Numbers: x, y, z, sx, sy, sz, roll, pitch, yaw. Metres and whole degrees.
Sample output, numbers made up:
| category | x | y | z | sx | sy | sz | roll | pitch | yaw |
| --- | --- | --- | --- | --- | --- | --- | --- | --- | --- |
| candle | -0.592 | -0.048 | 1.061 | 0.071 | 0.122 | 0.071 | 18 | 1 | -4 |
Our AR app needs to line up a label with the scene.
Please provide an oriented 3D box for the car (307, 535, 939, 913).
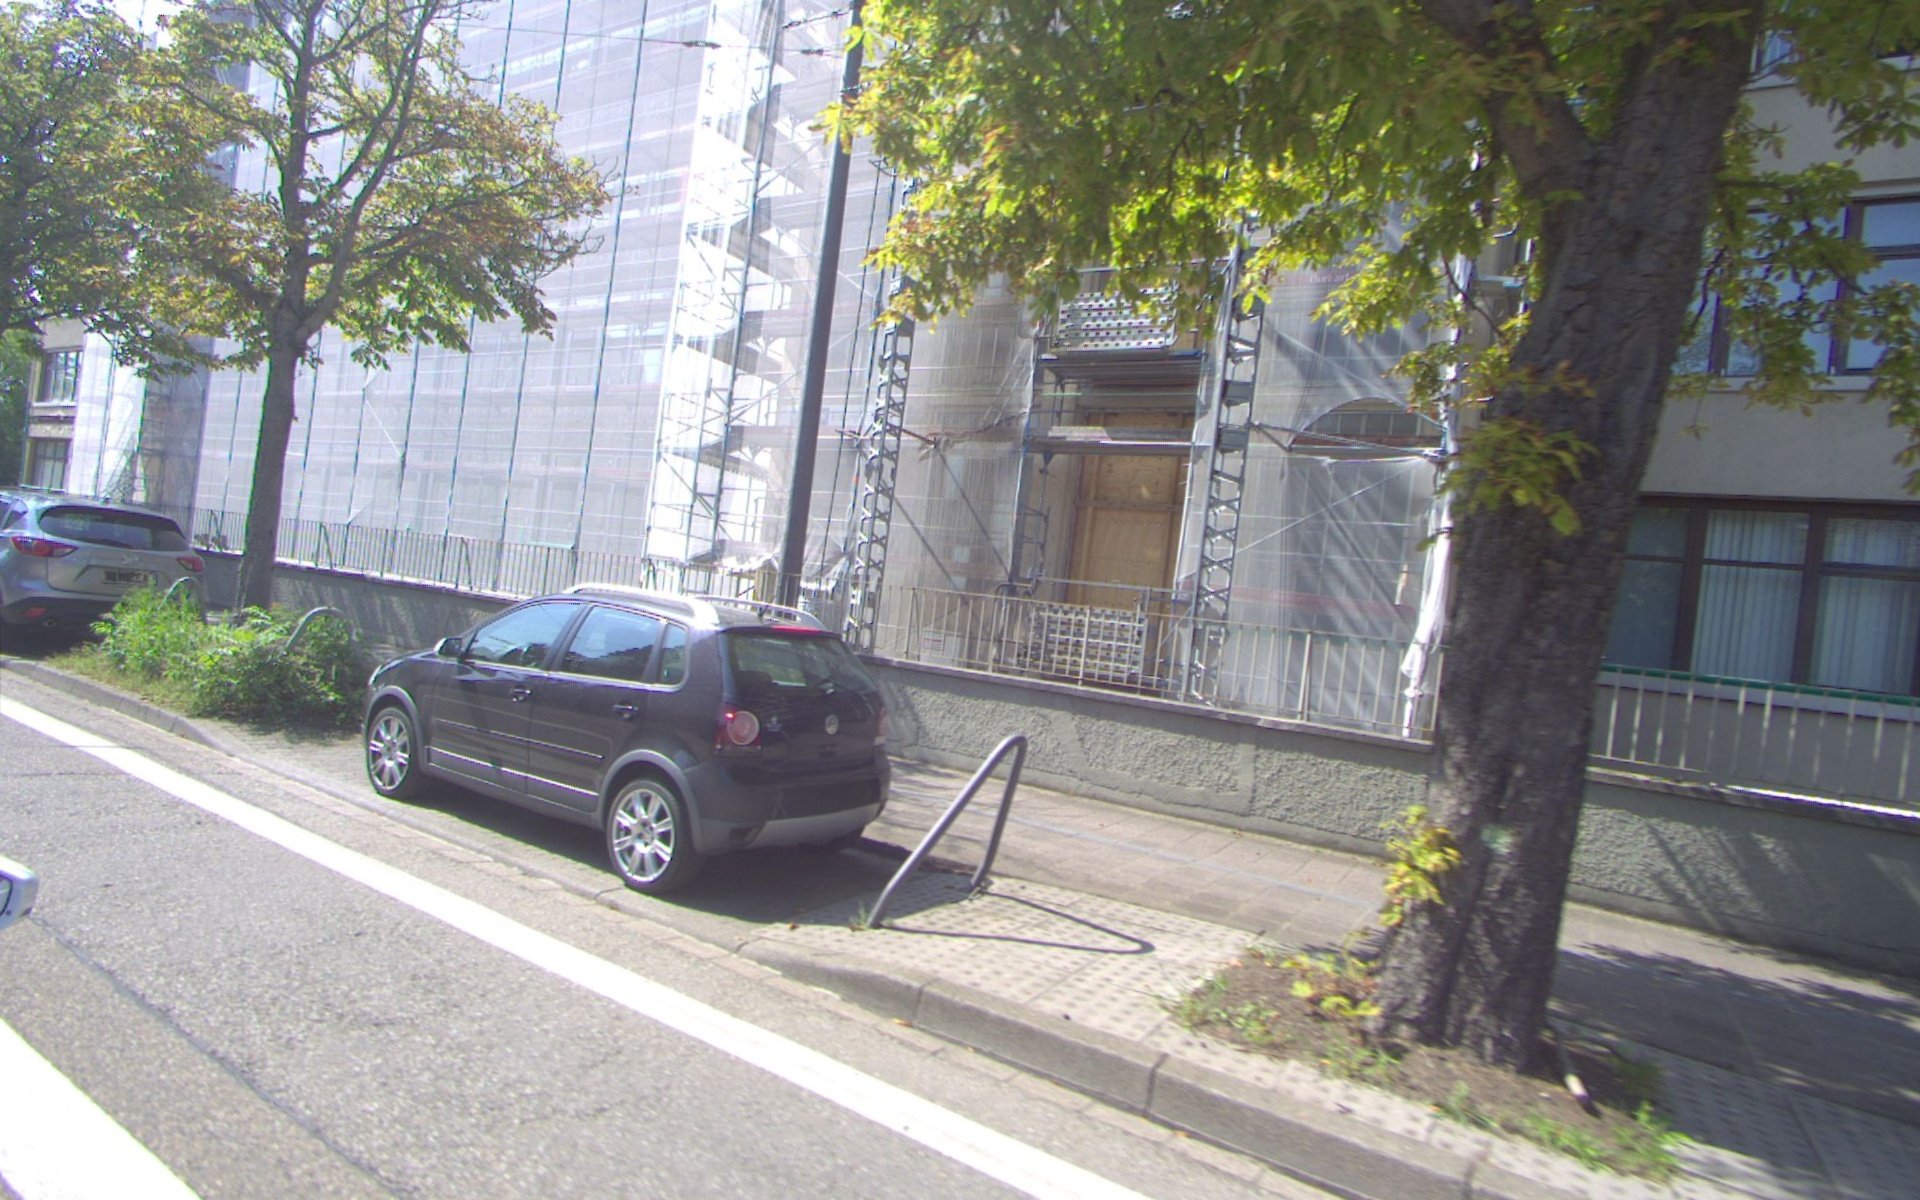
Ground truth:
| category | x | y | z | sx | sy | sz | roll | pitch | yaw |
| --- | --- | --- | --- | --- | --- | --- | --- | --- | --- |
| car | -2.312 | 0.607 | 6.586 | 3.934 | 1.588 | 1.688 | 6 | -2 | 32 |

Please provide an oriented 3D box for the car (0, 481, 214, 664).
| category | x | y | z | sx | sy | sz | roll | pitch | yaw |
| --- | --- | --- | --- | --- | --- | --- | --- | --- | --- |
| car | -10.851 | -0.436 | 11.682 | 4.571 | 1.708 | 1.765 | 6 | -1 | 31 |
